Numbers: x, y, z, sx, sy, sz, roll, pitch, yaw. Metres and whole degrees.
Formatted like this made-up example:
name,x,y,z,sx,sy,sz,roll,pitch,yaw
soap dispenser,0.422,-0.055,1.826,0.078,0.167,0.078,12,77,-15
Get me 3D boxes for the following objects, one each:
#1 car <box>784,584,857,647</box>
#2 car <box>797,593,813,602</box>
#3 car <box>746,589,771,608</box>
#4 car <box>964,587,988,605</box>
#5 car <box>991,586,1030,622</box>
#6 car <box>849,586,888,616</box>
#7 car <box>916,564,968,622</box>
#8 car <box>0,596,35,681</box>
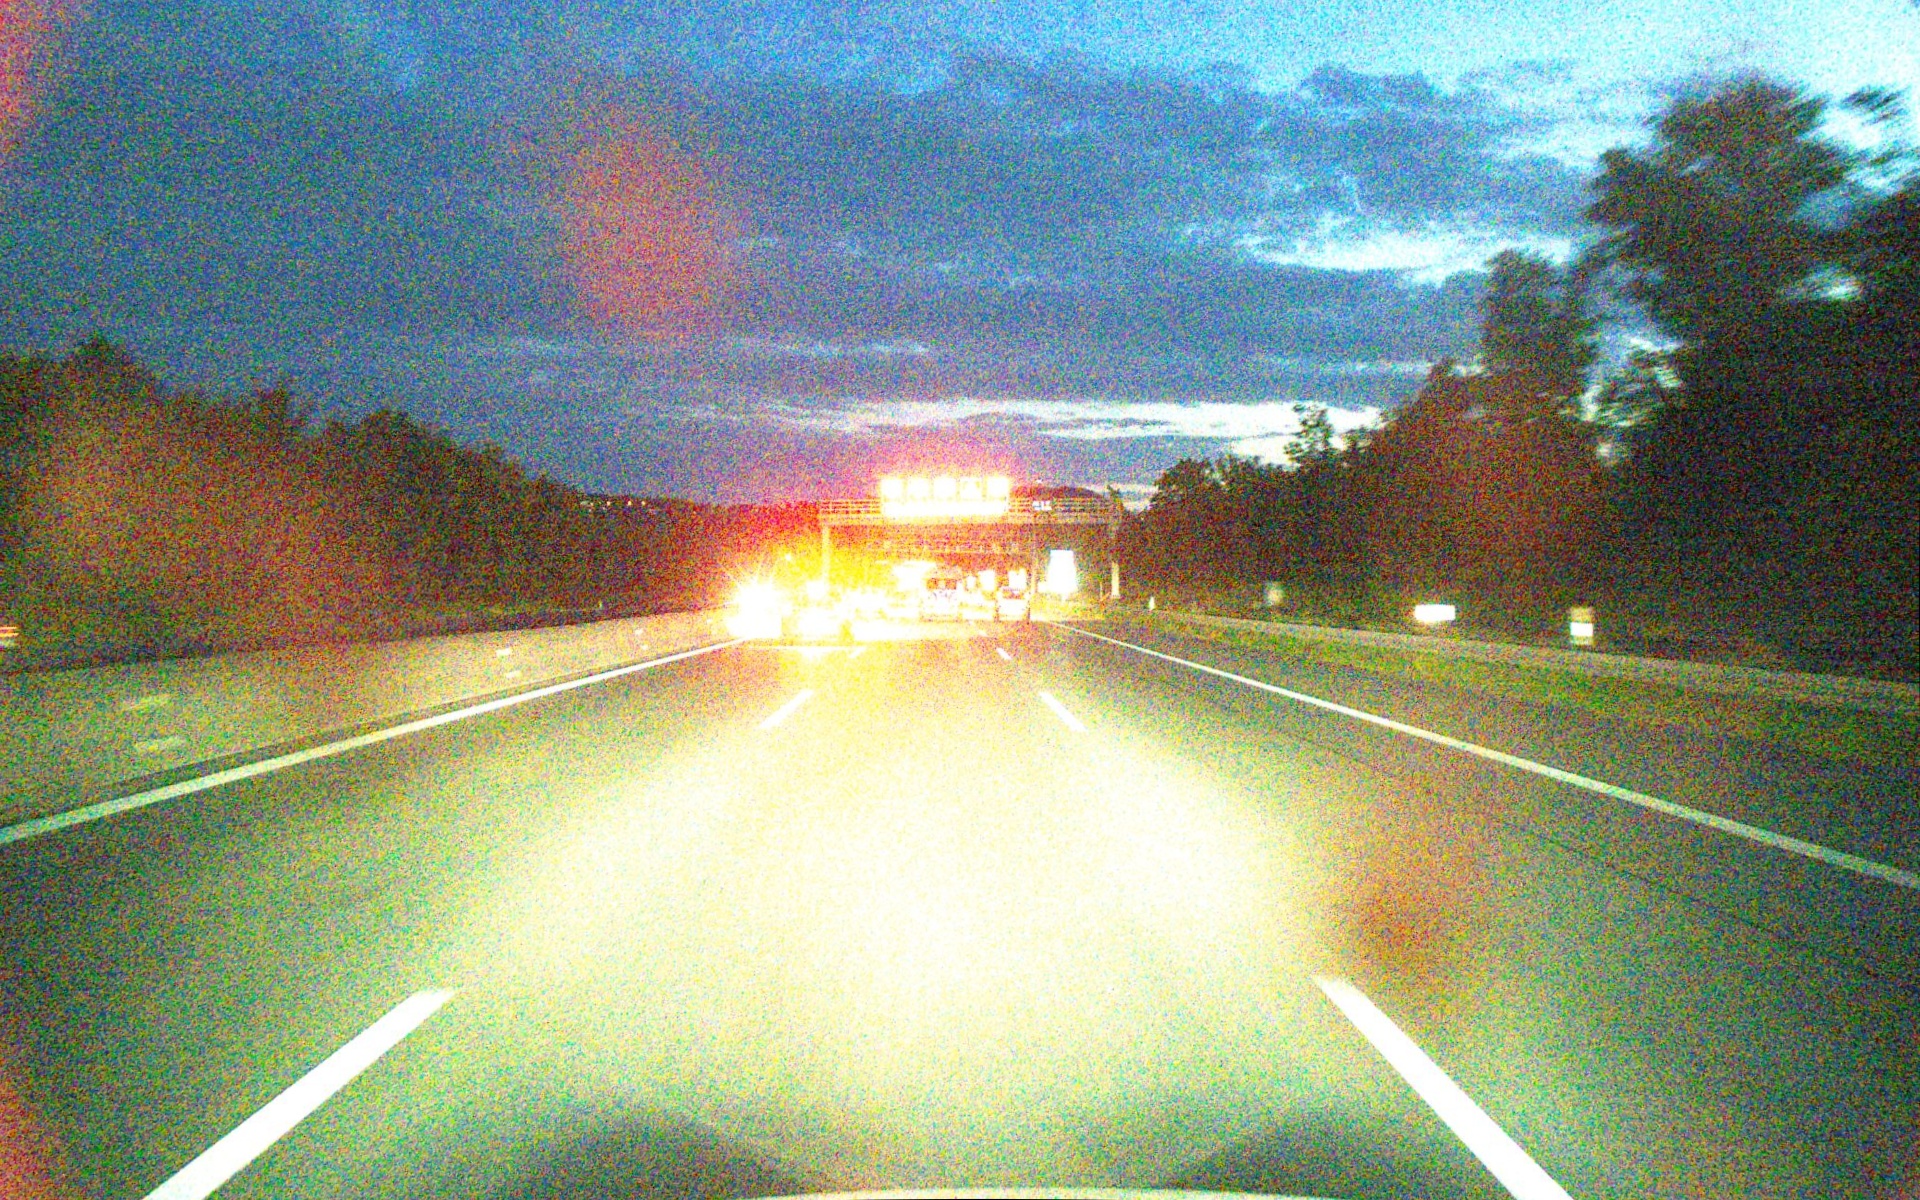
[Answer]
name,x,y,z,sx,sy,sz,roll,pitch,yaw
car,-3.542,0.368,42.317,1.758,1.494,3.769,1,1,-4
car,-22.710,-0.373,242.564,1.864,1.305,4.349,-1,0,-1
car,-17.654,-0.139,145.025,1.865,1.646,4.402,-1,0,-2
car,1.420,-0.371,148.427,2.119,1.591,4.722,0,0,-1
car,2.388,0.184,78.973,1.613,1.624,4.508,1,0,-2
car,-4.530,0.037,82.332,1.709,1.465,4.367,0,1,-1
car,-0.839,-0.328,76.210,2.303,2.579,5.700,0,1,-1
car,-19.711,0.709,31.009,1.864,1.663,5.045,2,-1,-1
